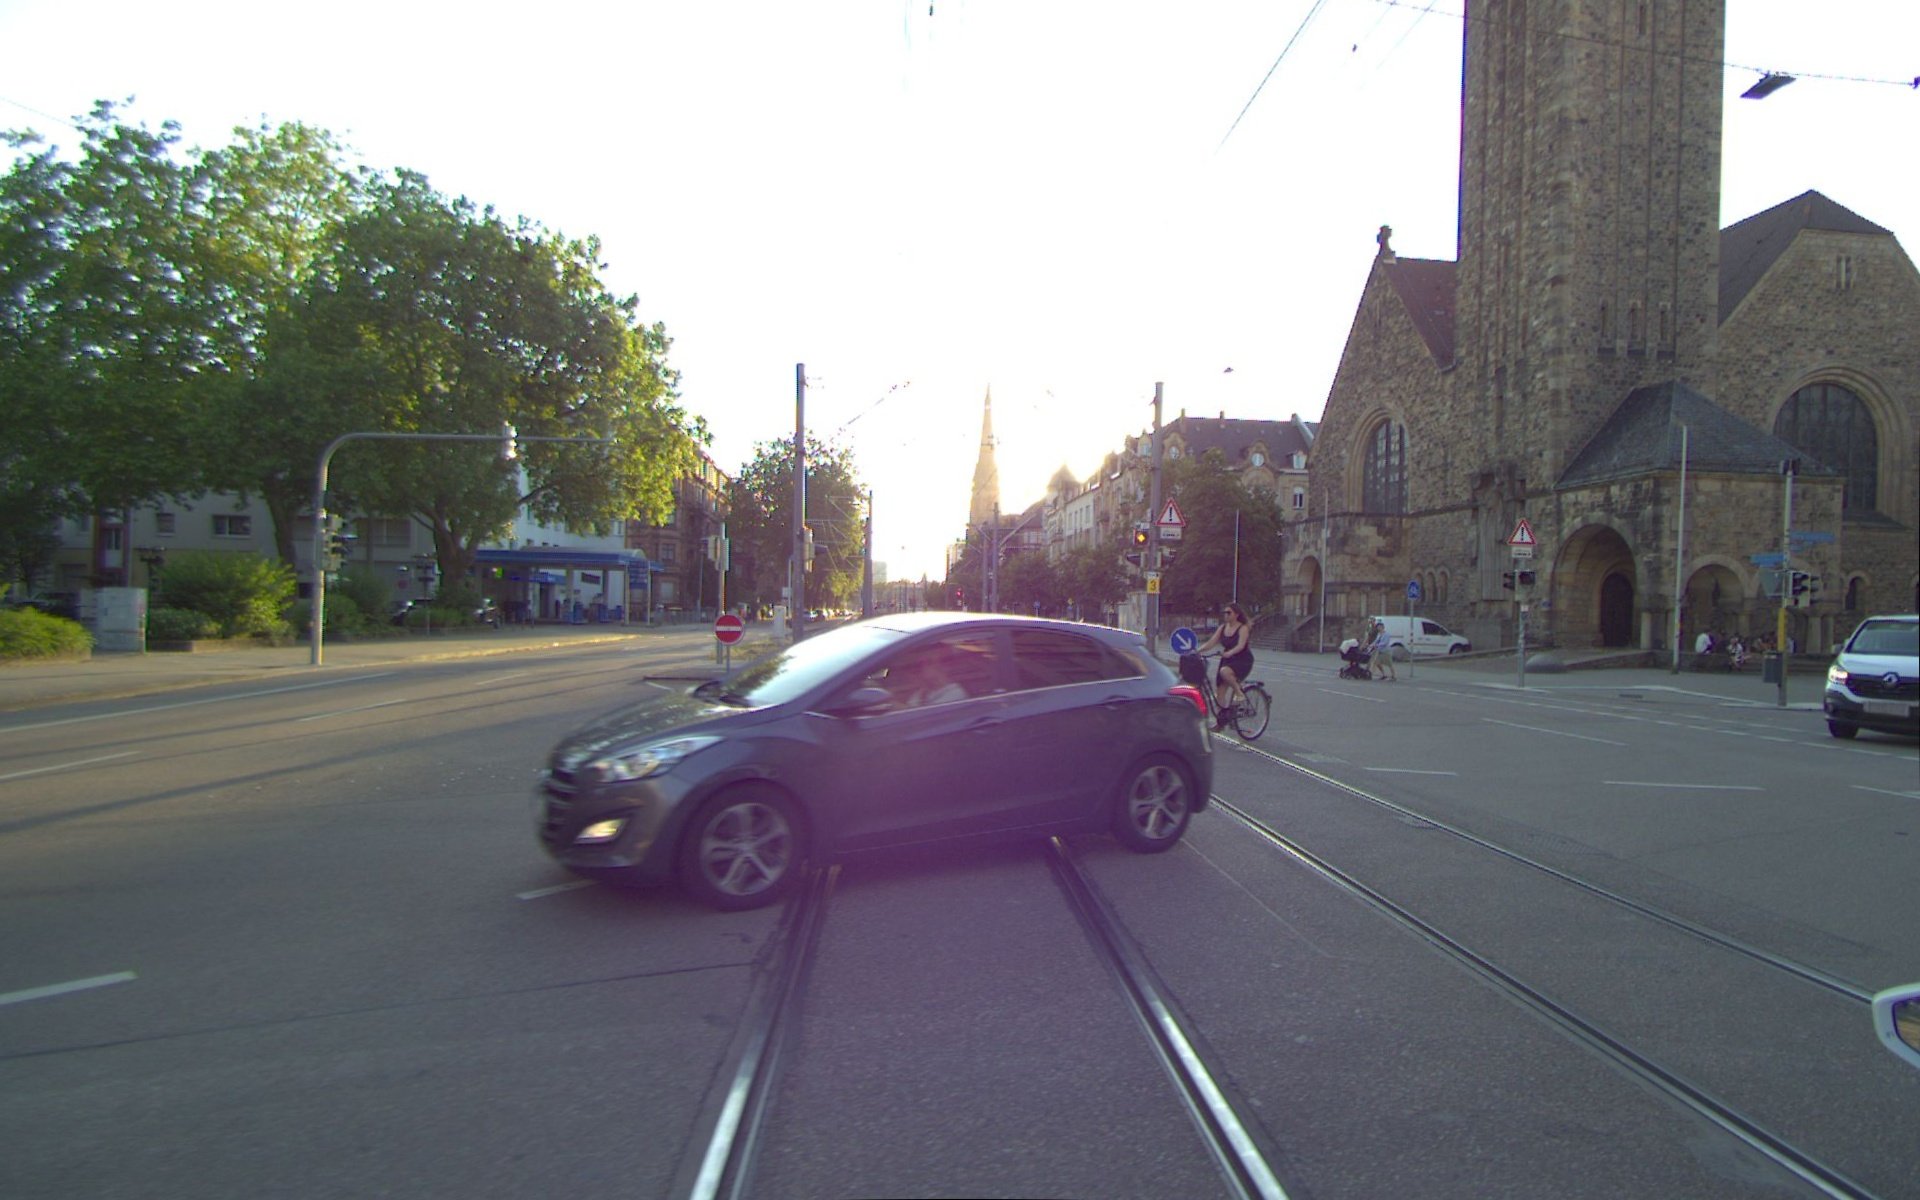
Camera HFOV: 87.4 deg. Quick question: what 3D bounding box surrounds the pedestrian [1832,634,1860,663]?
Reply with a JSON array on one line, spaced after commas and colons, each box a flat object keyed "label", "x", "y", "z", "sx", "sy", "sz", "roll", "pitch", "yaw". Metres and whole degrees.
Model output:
[{"label": "pedestrian", "x": 30.553, "y": 1.664, "z": 34.640, "sx": 0.471, "sy": 0.973, "sz": 0.522, "roll": 2, "pitch": 0, "yaw": -11}]

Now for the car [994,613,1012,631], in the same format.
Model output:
[{"label": "car", "x": 5.322, "y": 2.691, "z": 124.763, "sx": 1.961, "sy": 2.040, "sz": 3.999, "roll": 2, "pitch": 0, "yaw": -2}]

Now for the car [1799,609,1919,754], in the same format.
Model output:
[{"label": "car", "x": 15.432, "y": 1.235, "z": 15.751, "sx": 4.893, "sy": 2.040, "sz": 1.984, "roll": 2, "pitch": -1, "yaw": -31}]

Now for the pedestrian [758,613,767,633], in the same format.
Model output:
[{"label": "pedestrian", "x": -20.770, "y": 2.436, "z": 105.537, "sx": 0.837, "sy": 2.040, "sz": 0.712, "roll": 2, "pitch": 0, "yaw": -8}]

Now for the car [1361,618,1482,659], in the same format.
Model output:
[{"label": "car", "x": 19.669, "y": 1.619, "z": 42.902, "sx": 4.371, "sy": 1.537, "sz": 1.718, "roll": 2, "pitch": 0, "yaw": -5}]

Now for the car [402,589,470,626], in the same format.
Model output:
[{"label": "car", "x": -28.236, "y": 0.404, "z": 54.240, "sx": 1.882, "sy": 1.873, "sz": 3.996, "roll": 2, "pitch": 0, "yaw": -6}]

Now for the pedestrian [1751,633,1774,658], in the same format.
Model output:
[{"label": "pedestrian", "x": 32.438, "y": 1.844, "z": 40.613, "sx": 0.703, "sy": 0.973, "sz": 0.548, "roll": 2, "pitch": 0, "yaw": -35}]

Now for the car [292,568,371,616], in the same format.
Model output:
[{"label": "car", "x": -33.452, "y": -0.426, "z": 53.581, "sx": 1.963, "sy": 2.374, "sz": 3.996, "roll": 2, "pitch": 0, "yaw": -6}]

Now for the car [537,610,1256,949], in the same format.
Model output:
[{"label": "car", "x": -0.333, "y": 0.850, "z": 6.345, "sx": 4.091, "sy": 1.496, "sz": 1.984, "roll": 1, "pitch": -1, "yaw": -30}]

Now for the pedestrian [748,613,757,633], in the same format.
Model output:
[{"label": "pedestrian", "x": -21.809, "y": 2.396, "z": 105.447, "sx": 0.837, "sy": 2.040, "sz": 0.712, "roll": 2, "pitch": 0, "yaw": -8}]

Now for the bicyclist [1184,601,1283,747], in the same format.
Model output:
[{"label": "bicyclist", "x": 3.267, "y": 0.863, "z": 12.011, "sx": 0.952, "sy": 1.666, "sz": 0.596, "roll": 2, "pitch": 0, "yaw": -30}]

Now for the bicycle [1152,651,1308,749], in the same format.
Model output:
[{"label": "bicycle", "x": 3.241, "y": 1.167, "z": 11.971, "sx": 1.923, "sy": 1.057, "sz": 0.596, "roll": 2, "pitch": 0, "yaw": -31}]

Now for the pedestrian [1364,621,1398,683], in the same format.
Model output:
[{"label": "pedestrian", "x": 12.058, "y": 1.483, "z": 28.791, "sx": 0.593, "sy": 1.721, "sz": 0.633, "roll": 2, "pitch": 0, "yaw": -18}]

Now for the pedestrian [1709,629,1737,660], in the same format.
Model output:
[{"label": "pedestrian", "x": 25.059, "y": 1.453, "z": 32.977, "sx": 0.471, "sy": 0.973, "sz": 0.522, "roll": 2, "pitch": 0, "yaw": -9}]

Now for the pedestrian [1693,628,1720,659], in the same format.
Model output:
[{"label": "pedestrian", "x": 25.006, "y": 1.452, "z": 33.659, "sx": 0.471, "sy": 0.973, "sz": 0.522, "roll": 2, "pitch": 0, "yaw": -9}]

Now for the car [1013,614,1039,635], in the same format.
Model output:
[{"label": "car", "x": 7.166, "y": 2.640, "z": 109.084, "sx": 1.964, "sy": 2.040, "sz": 3.993, "roll": 2, "pitch": 0, "yaw": -9}]

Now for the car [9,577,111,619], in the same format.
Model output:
[{"label": "car", "x": -46.862, "y": -0.125, "z": 52.411, "sx": 1.963, "sy": 2.040, "sz": 3.995, "roll": 2, "pitch": 0, "yaw": -7}]

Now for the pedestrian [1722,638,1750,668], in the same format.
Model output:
[{"label": "pedestrian", "x": 25.998, "y": 1.769, "z": 33.659, "sx": 0.513, "sy": 0.973, "sz": 0.479, "roll": 2, "pitch": 0, "yaw": 1}]

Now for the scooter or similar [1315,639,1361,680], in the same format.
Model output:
[{"label": "scooter or similar", "x": 10.823, "y": 1.696, "z": 28.765, "sx": 1.061, "sy": 1.118, "sz": 0.633, "roll": 2, "pitch": 0, "yaw": -18}]

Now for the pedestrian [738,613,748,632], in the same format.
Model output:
[{"label": "pedestrian", "x": -22.758, "y": 2.360, "z": 105.330, "sx": 0.837, "sy": 2.040, "sz": 0.712, "roll": 2, "pitch": 0, "yaw": -8}]

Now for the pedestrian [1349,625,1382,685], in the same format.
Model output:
[{"label": "pedestrian", "x": 11.936, "y": 1.616, "z": 29.564, "sx": 0.593, "sy": 1.721, "sz": 0.633, "roll": 2, "pitch": 0, "yaw": -18}]
